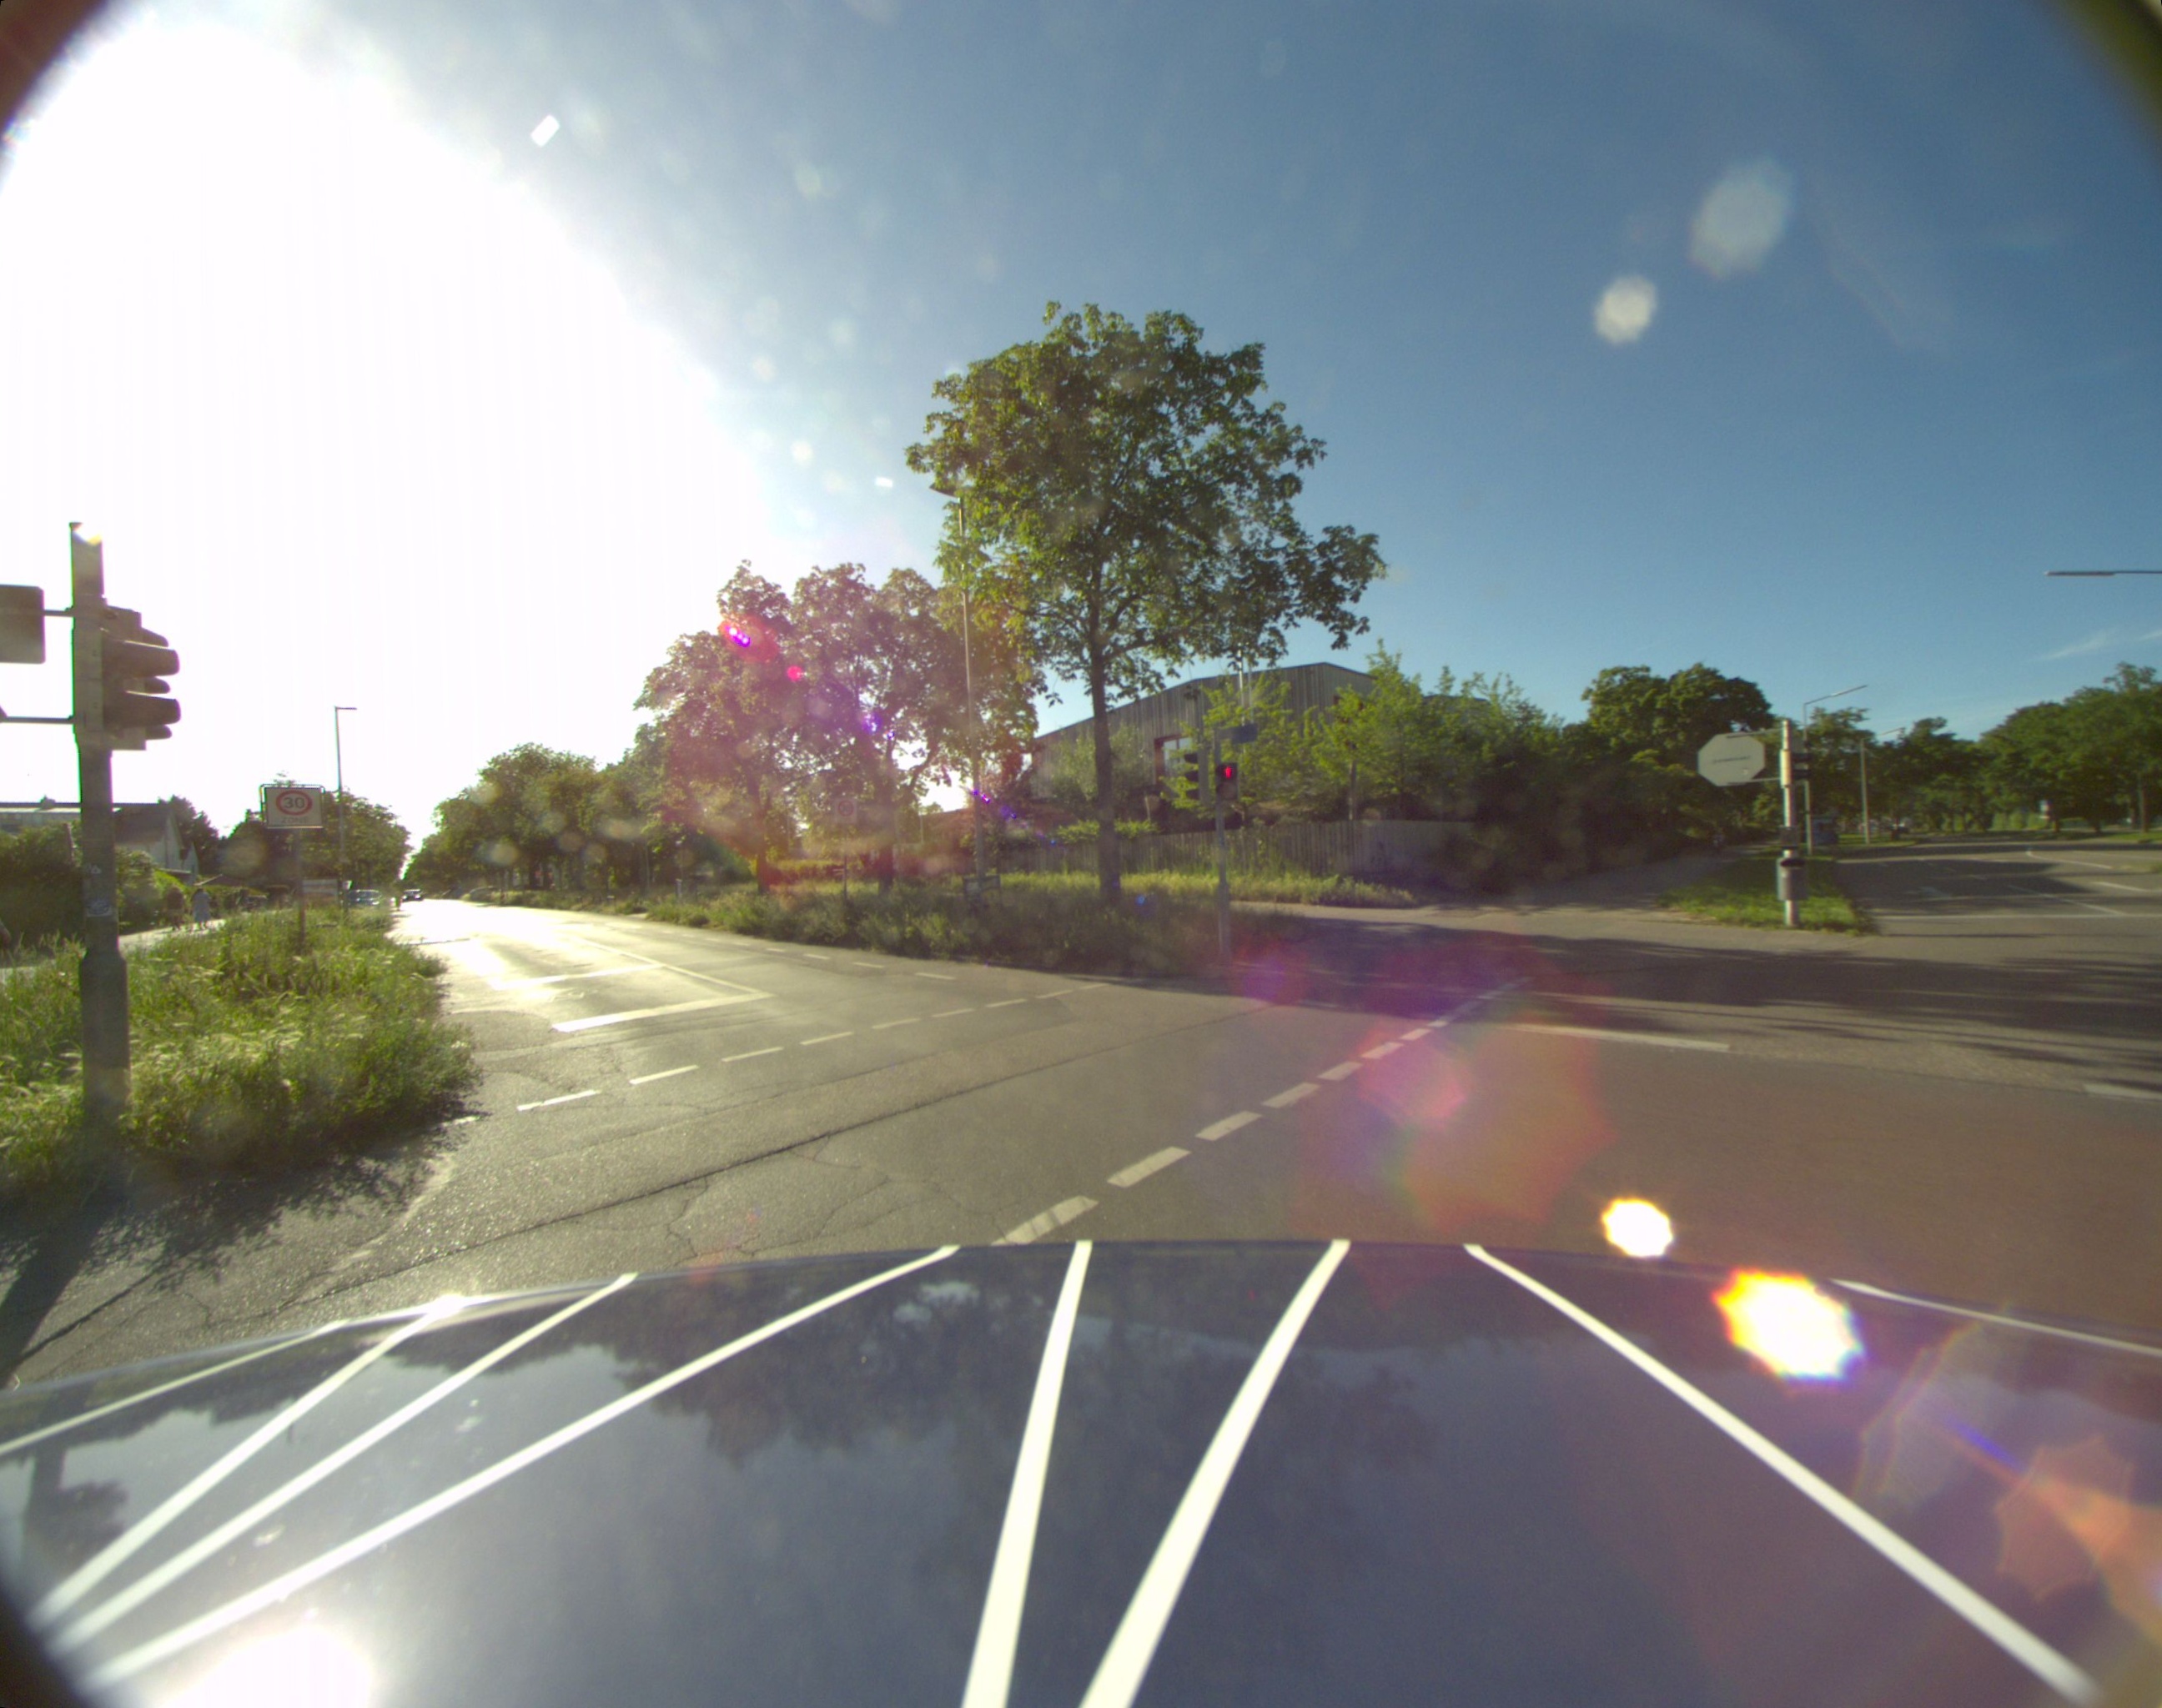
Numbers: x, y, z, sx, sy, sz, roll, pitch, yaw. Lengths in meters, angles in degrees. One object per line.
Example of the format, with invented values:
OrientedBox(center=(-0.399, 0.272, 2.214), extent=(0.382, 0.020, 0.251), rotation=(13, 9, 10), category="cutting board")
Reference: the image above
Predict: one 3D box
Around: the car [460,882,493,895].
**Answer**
OrientedBox(center=(-97.921, 5.591, 123.064), extent=(4.007, 1.740, 1.885), rotation=(-4, 2, -43), category="car")

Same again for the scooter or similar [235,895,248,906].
OrientedBox(center=(-57.337, 3.175, 51.890), extent=(0.451, 0.712, 1.225), rotation=(3, -3, -43), category="scooter or similar")

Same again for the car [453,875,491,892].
OrientedBox(center=(-108.573, 5.221, 135.449), extent=(5.135, 2.597, 2.119), rotation=(-4, 2, -39), category="car")

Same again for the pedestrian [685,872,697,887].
OrientedBox(center=(-31.798, 2.068, 61.998), extent=(0.641, 1.151, 0.520), rotation=(-7, 4, -43), category="pedestrian")

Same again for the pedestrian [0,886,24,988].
OrientedBox(center=(-19.748, 1.512, 13.528), extent=(0.734, 1.811, 0.904), rotation=(-2, 2, 43), category="pedestrian")

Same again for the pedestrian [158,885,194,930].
OrientedBox(center=(-35.642, 2.099, 29.930), extent=(0.608, 1.723, 0.638), rotation=(-4, 2, -26), category="pedestrian")

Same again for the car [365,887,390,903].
OrientedBox(center=(-69.988, 4.035, 75.638), extent=(1.737, 1.473, 3.847), rotation=(-2, -1, -43), category="car")

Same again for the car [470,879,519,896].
OrientedBox(center=(-67.564, 3.828, 87.552), extent=(4.214, 1.552, 1.995), rotation=(-4, 1, -42), category="car")

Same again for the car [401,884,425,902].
OrientedBox(center=(-81.492, 4.755, 92.646), extent=(2.003, 2.002, 3.989), rotation=(-4, 2, -42), category="car")

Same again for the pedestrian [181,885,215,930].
OrientedBox(center=(-35.094, 2.111, 30.196), extent=(0.556, 1.723, 0.660), rotation=(-4, 2, -26), category="pedestrian")

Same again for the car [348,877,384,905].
OrientedBox(center=(-44.935, 2.312, 47.800), extent=(1.500, 1.565, 3.591), rotation=(-4, 1, -42), category="car")
